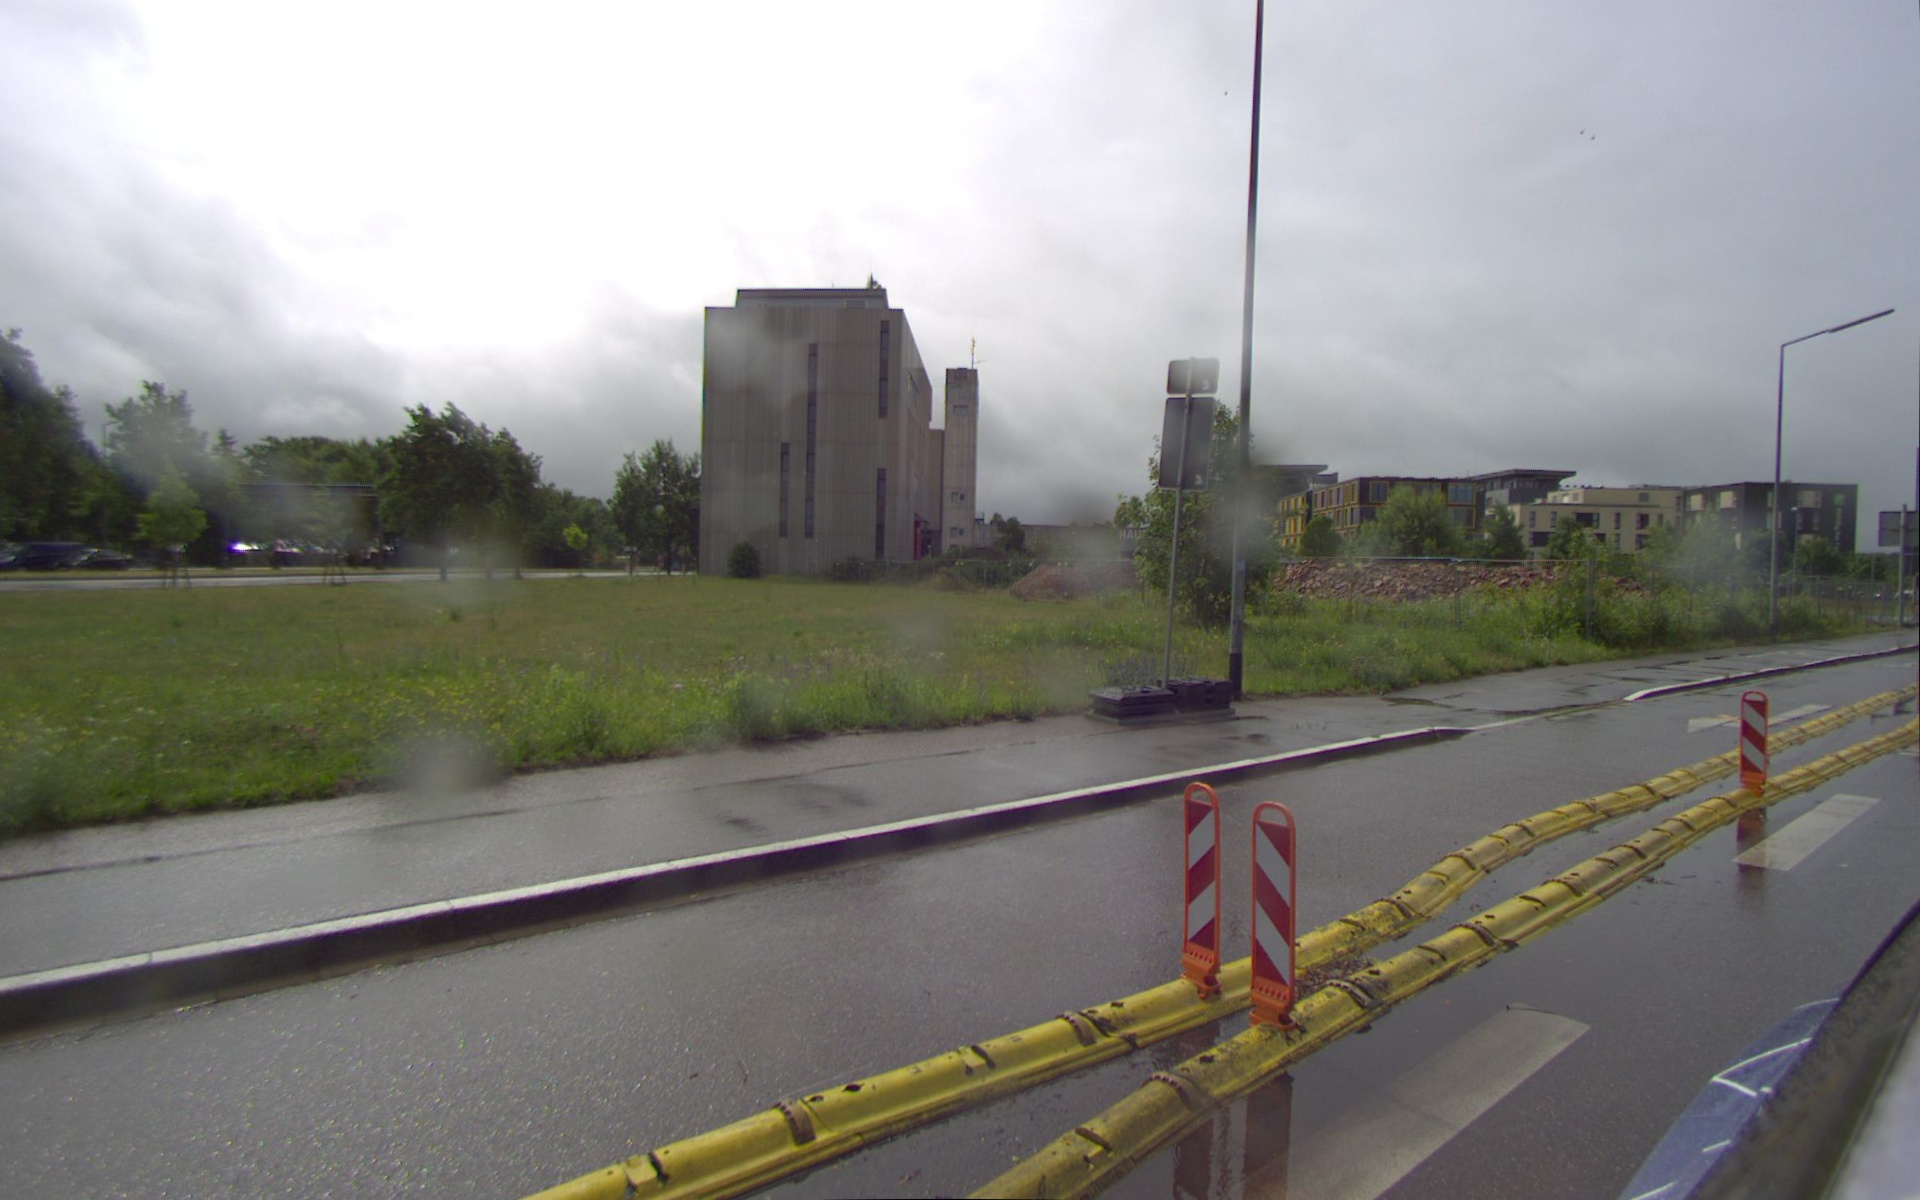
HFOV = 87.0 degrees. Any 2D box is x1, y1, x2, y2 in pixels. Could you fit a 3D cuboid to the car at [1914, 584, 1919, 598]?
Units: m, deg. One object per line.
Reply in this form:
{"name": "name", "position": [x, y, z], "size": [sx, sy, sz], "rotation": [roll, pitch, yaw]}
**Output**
{"name": "car", "position": [146.172, -1.299, 151.848], "size": [3.931, 2.039, 1.997], "rotation": [1, 1, 7]}

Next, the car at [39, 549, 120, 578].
{"name": "car", "position": [-50.672, -2.079, 58.310], "size": [1.515, 1.578, 3.521], "rotation": [1, 2, 4]}

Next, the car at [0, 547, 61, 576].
{"name": "car", "position": [-53.093, -2.182, 57.101], "size": [1.515, 1.578, 3.521], "rotation": [1, 2, 4]}
